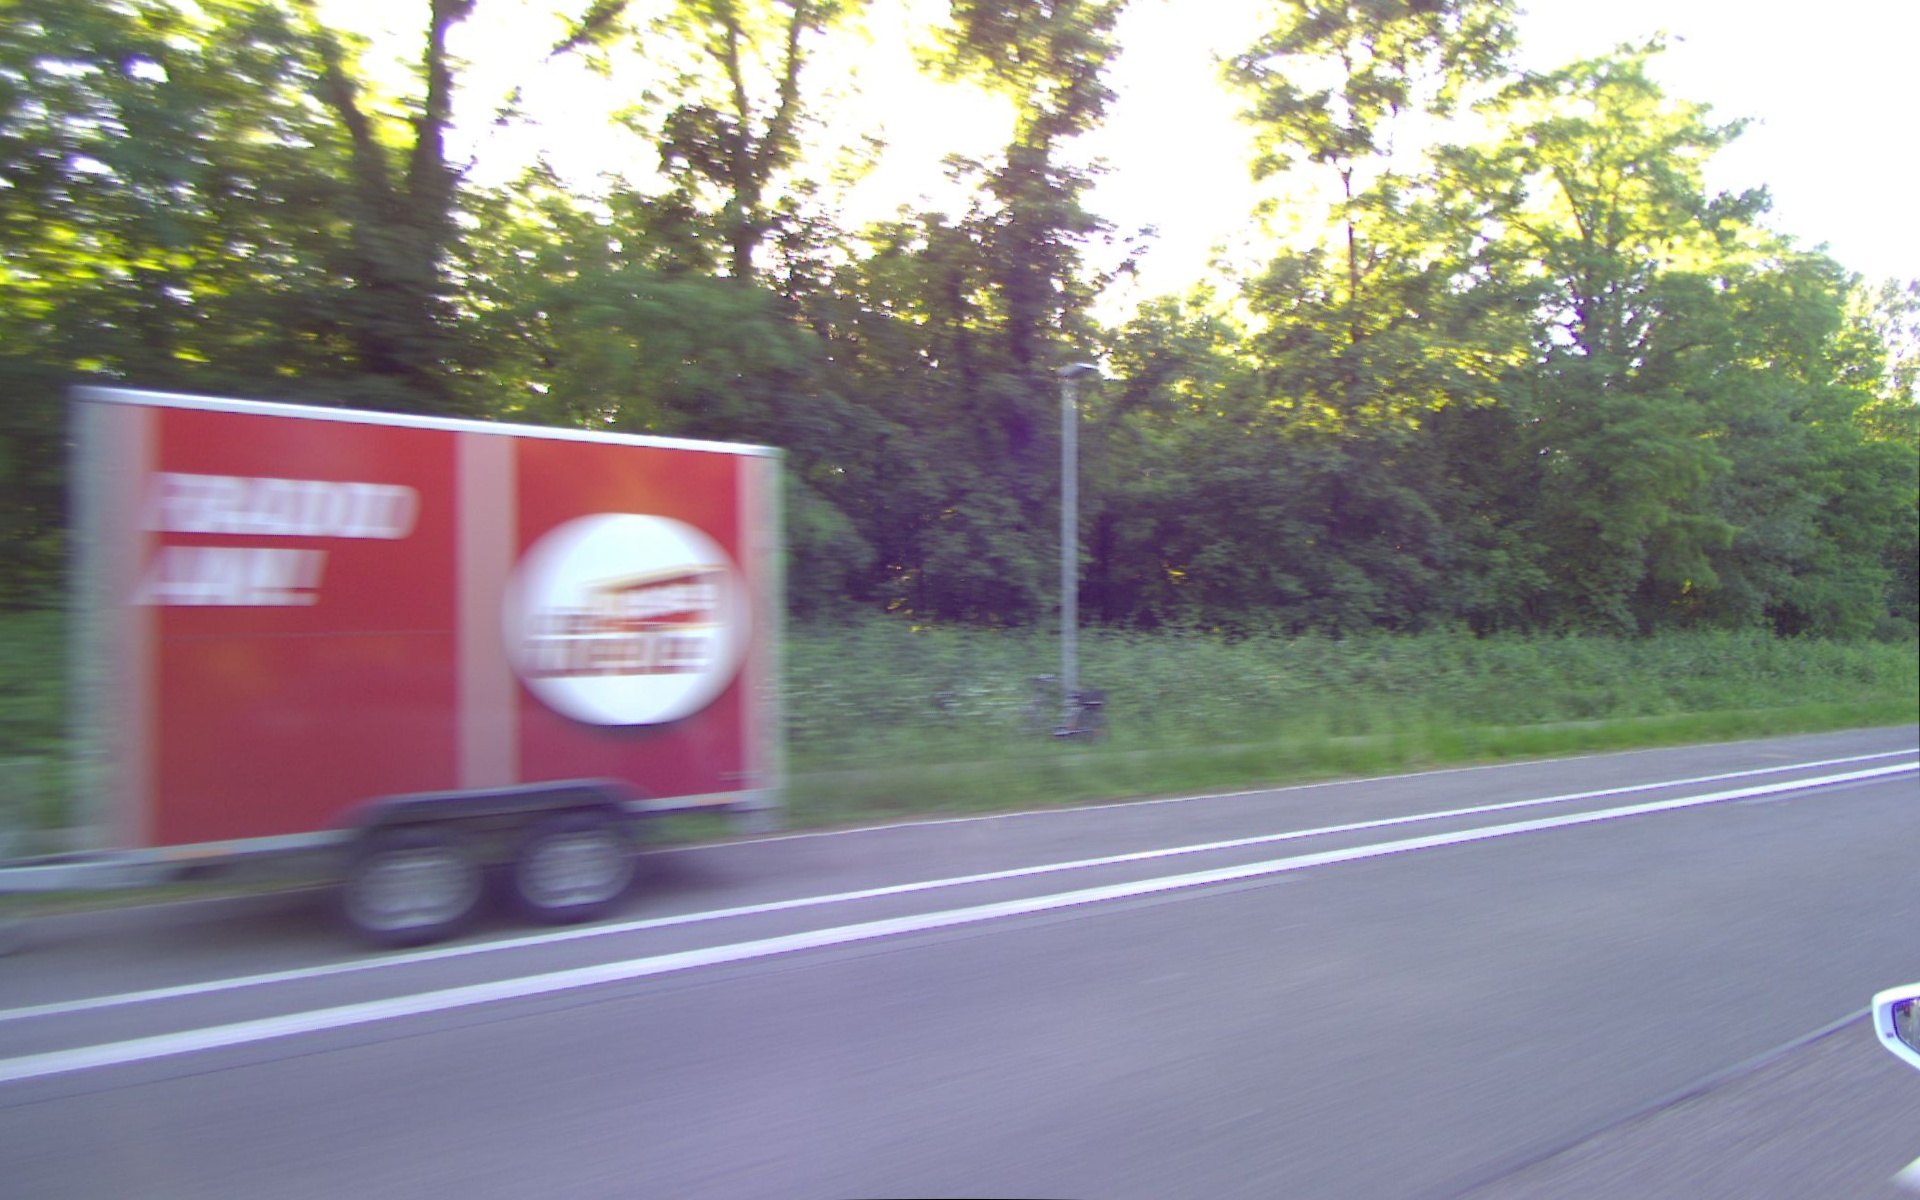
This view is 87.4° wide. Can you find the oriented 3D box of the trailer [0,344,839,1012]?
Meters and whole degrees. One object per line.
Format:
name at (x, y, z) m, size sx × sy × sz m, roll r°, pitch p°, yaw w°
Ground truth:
trailer at (-2.941, 0.358, 5.653) m, size 4.038 × 2.656 × 1.984 m, roll 1°, pitch -1°, yaw -30°
